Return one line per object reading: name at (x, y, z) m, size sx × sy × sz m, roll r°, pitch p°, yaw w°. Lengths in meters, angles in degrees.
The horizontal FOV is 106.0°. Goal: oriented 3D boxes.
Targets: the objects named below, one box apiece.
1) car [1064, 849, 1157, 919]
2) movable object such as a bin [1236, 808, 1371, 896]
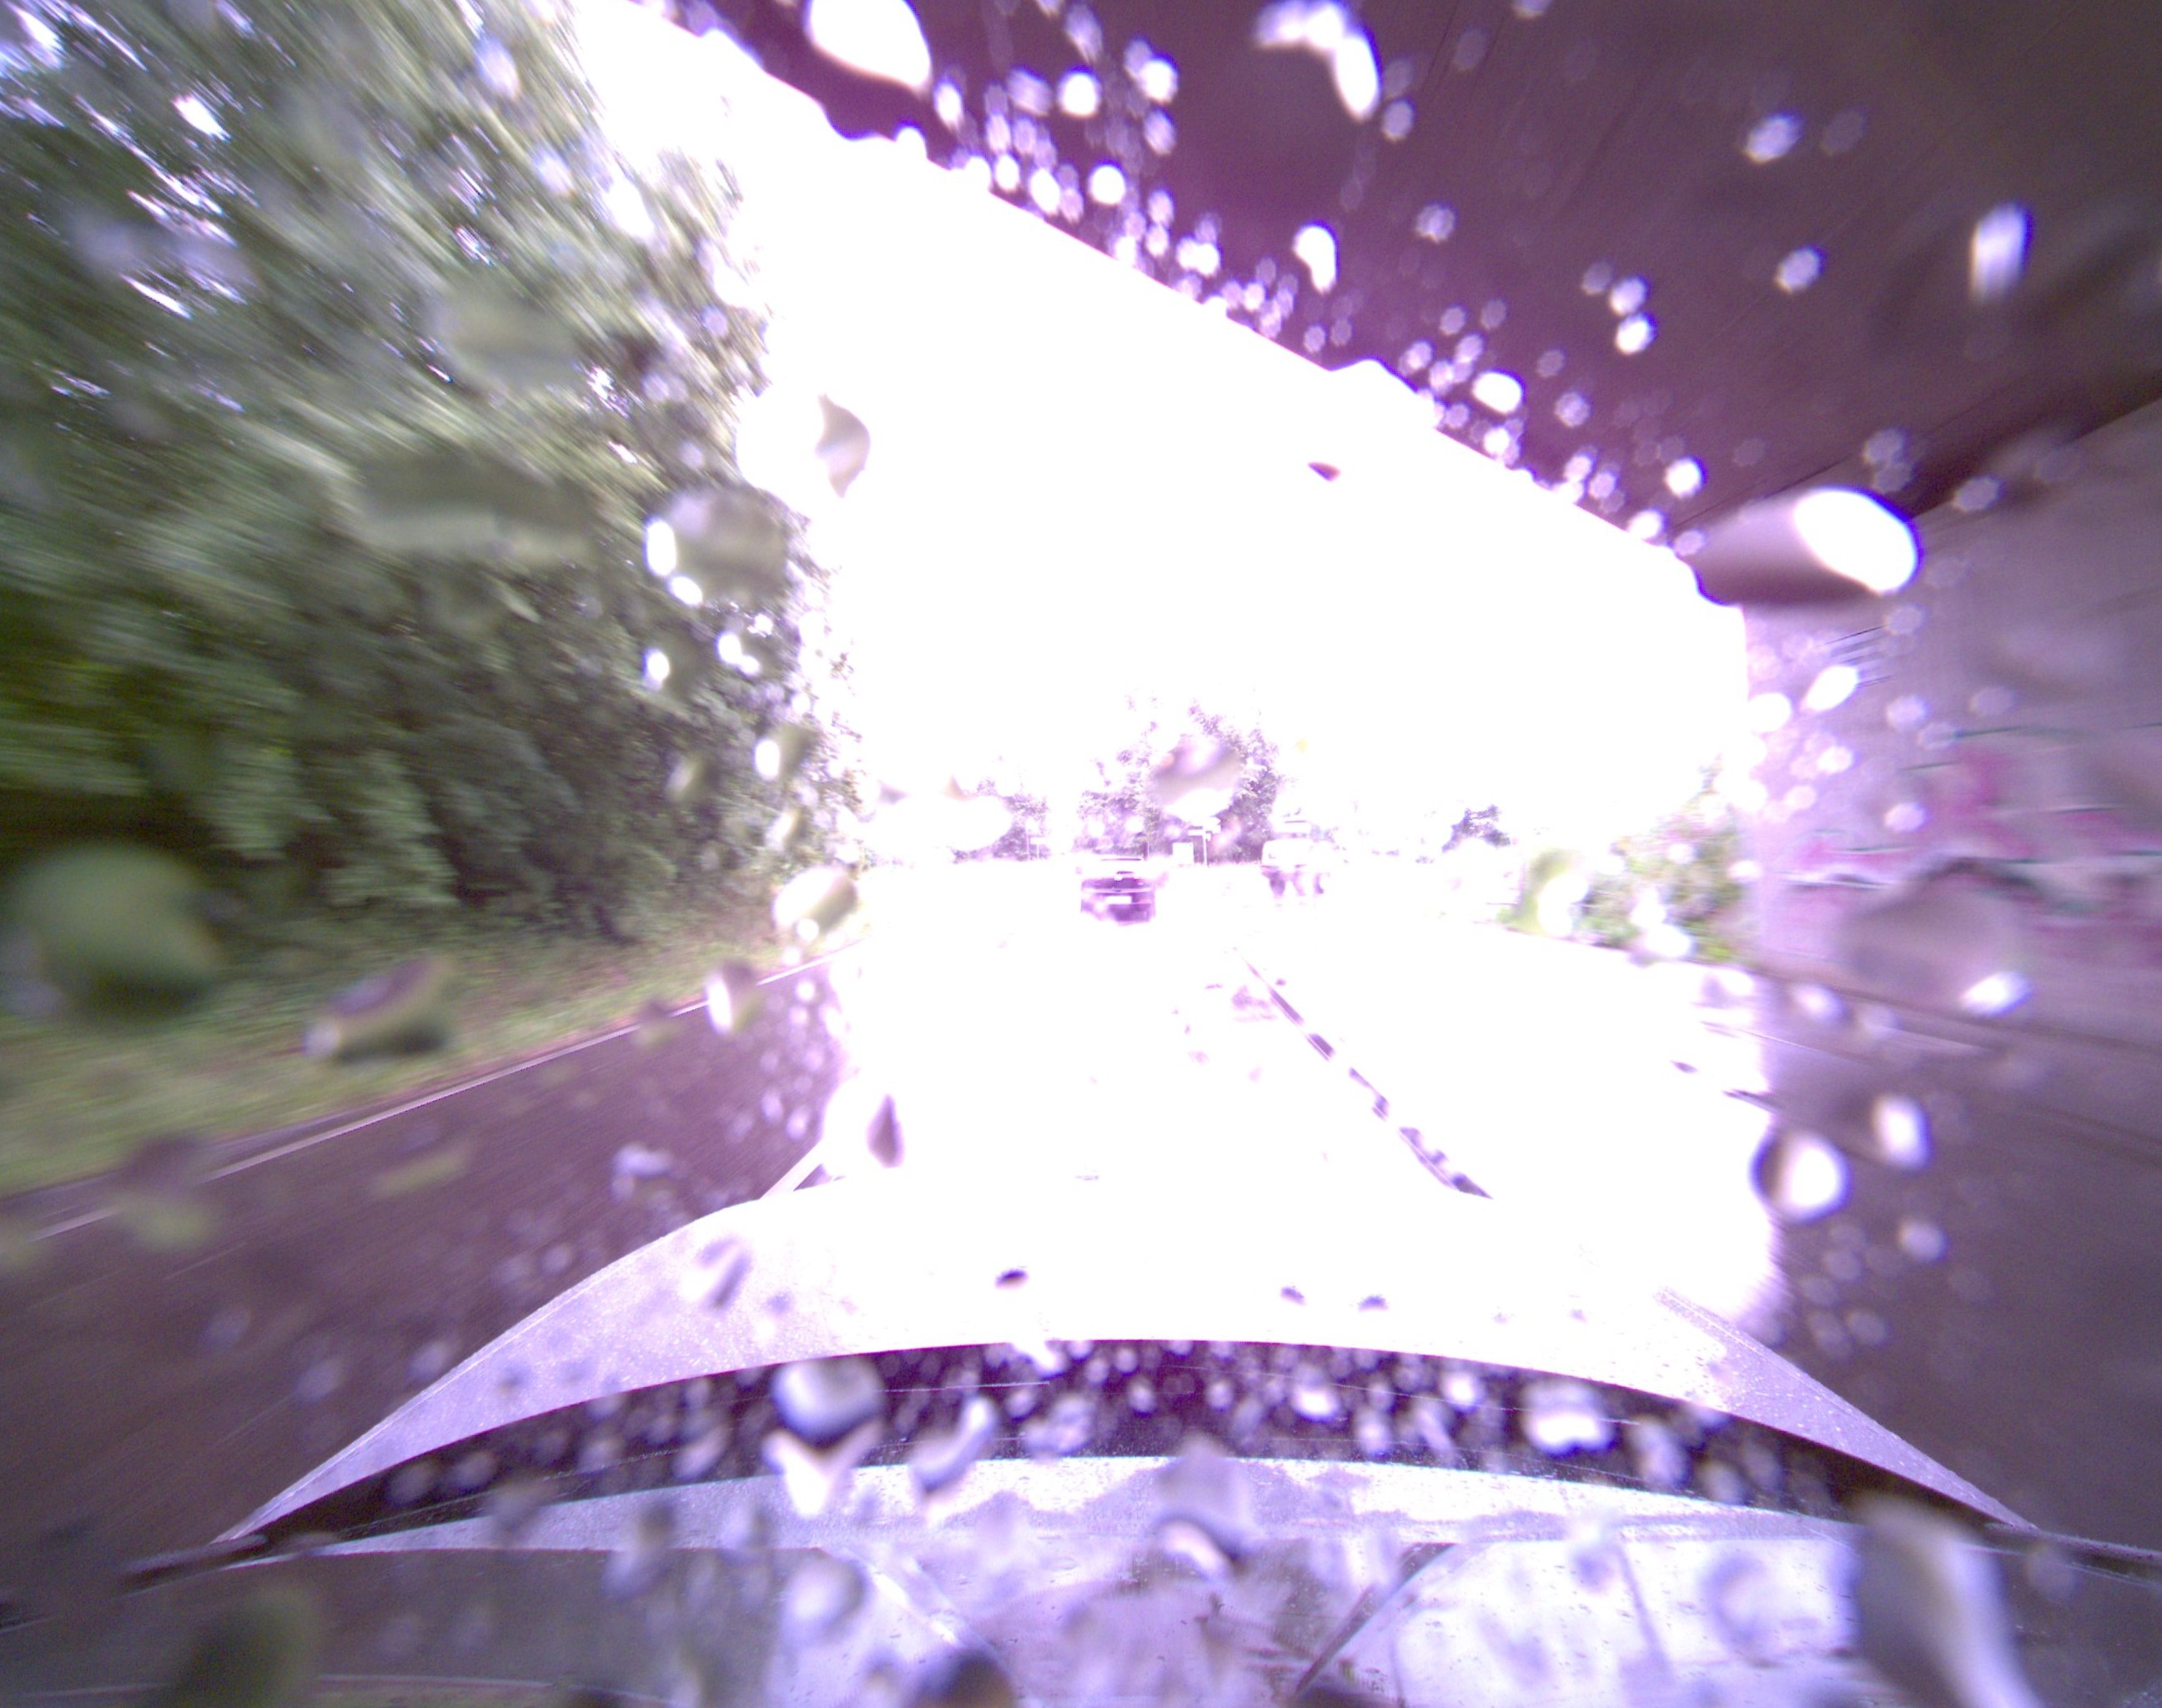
car at (0.599, 0.668, 19.572) m, size 1.988 × 1.487 × 3.997 m, roll 0°, pitch -1°, yaw -2°
movable object such as a bin at (7.804, -0.033, 27.897) m, size 2.224 × 2.669 × 6.668 m, roll -1°, pitch -1°, yaw 36°
